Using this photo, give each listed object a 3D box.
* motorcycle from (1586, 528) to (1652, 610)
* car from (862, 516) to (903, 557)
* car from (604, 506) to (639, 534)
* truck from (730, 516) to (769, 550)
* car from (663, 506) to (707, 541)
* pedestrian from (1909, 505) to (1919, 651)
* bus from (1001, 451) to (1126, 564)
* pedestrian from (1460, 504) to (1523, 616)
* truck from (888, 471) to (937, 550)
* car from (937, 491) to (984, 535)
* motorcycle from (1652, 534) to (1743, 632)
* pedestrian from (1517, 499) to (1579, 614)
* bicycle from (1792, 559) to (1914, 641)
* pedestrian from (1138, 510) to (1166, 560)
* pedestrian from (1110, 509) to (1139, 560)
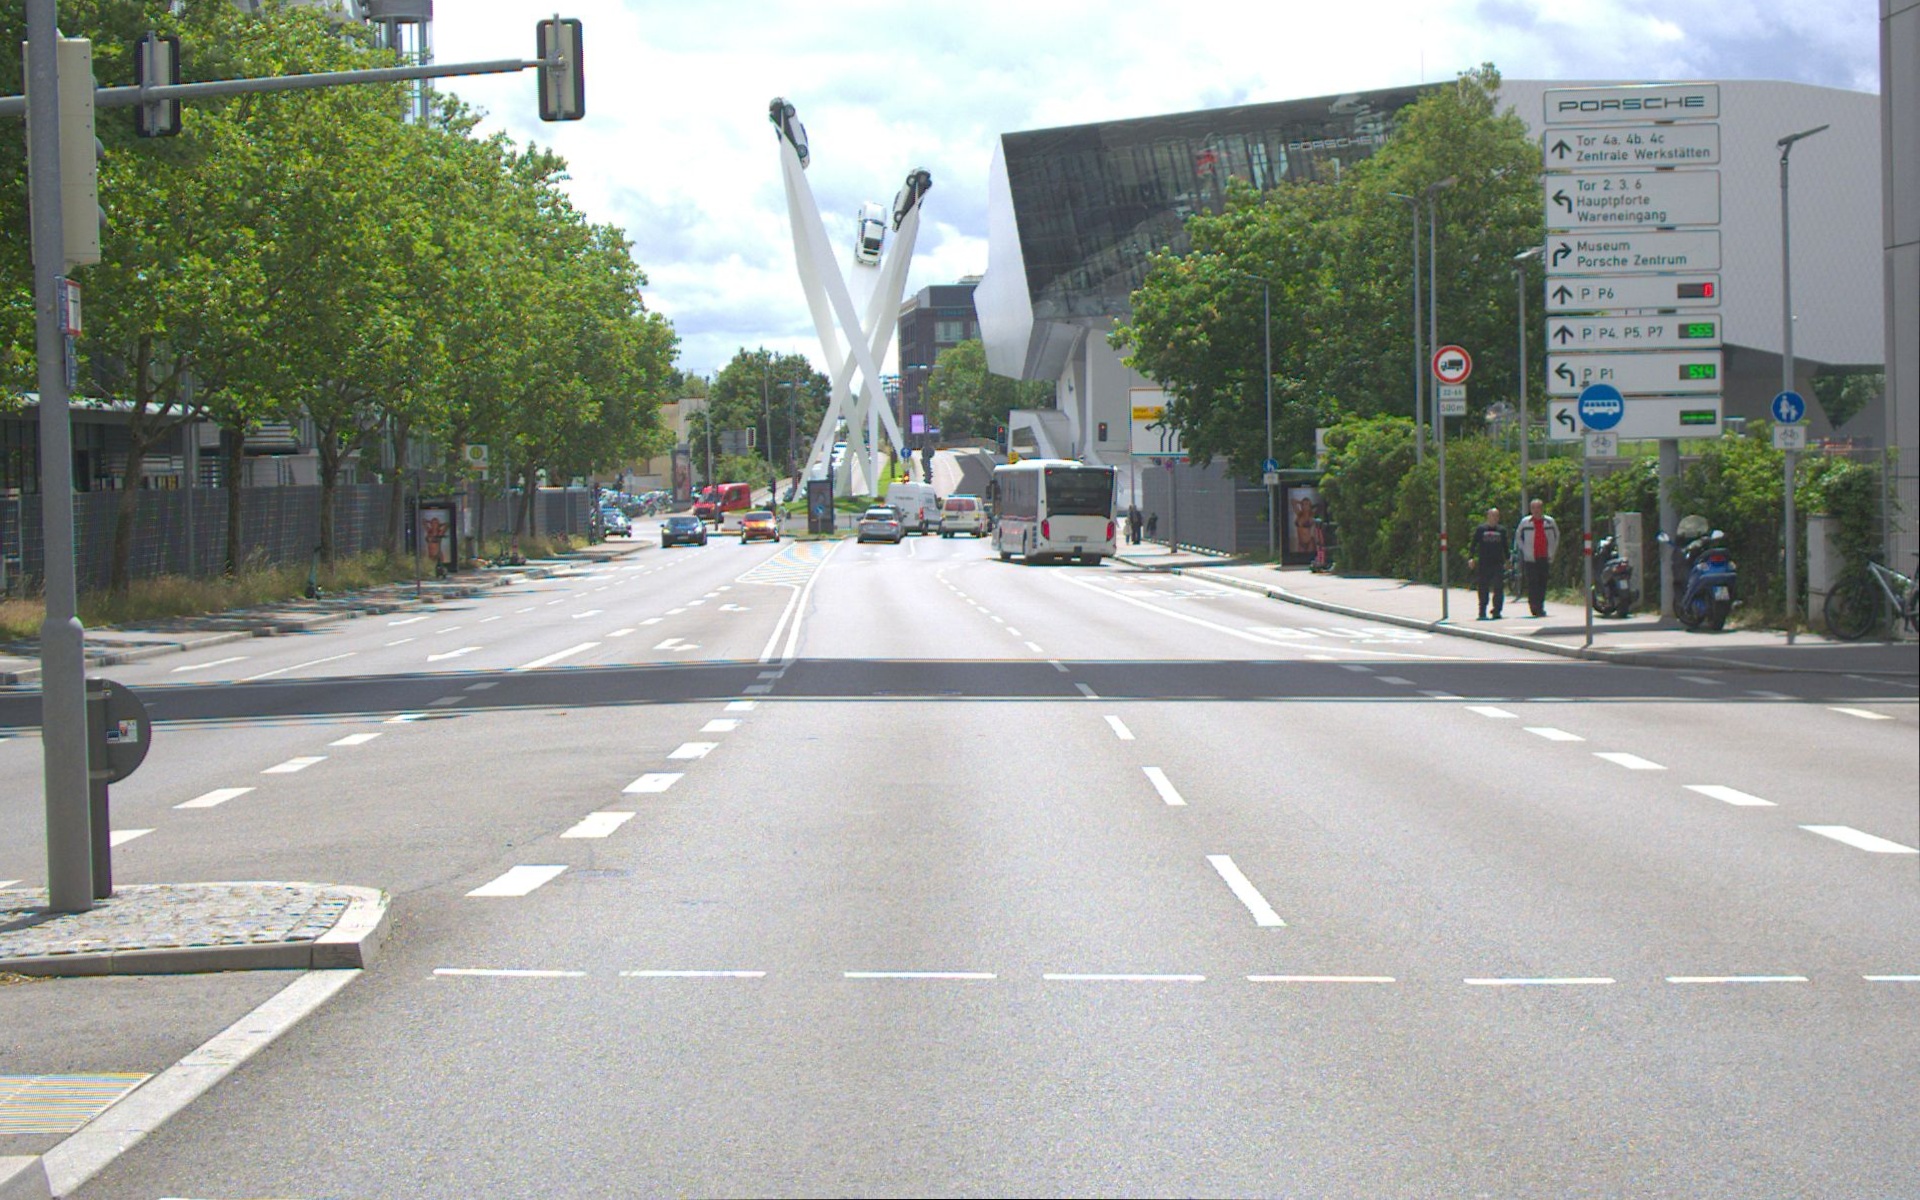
[{"bbox_3d":[10.098,-0.489,52.740,0.574,1.199,2.024,-2,2,-1],"label":"motorcycle"},{"bbox_3d":[-3.332,-2.748,148.630,1.738,1.735,3.691,0,1,-1],"label":"car"},{"bbox_3d":[-19.741,-4.668,200.651,1.818,1.532,3.679,-2,1,-2],"label":"car"},{"bbox_3d":[-9.586,-3.064,156.360,1.583,1.532,3.679,0,1,-6],"label":"truck"},{"bbox_3d":[-12.615,-3.515,157.760,1.818,1.532,3.679,-2,1,-2],"label":"car"},{"bbox_3d":[11.210,-0.246,38.404,0.849,1.619,0.954,1,1,41],"label":"pedestrian"},{"bbox_3d":[3.314,-3.005,113.224,3.452,3.531,10.607,0,1,-2],"label":"bus"},{"bbox_3d":[8.120,-0.615,52.528,0.820,1.701,0.881,0,1,-1],"label":"pedestrian"},{"bbox_3d":[-2.372,-4.440,172.091,2.392,3.884,6.177,0,1,-1],"label":"truck"},{"bbox_3d":[0.027,-4.165,165.563,1.994,2.007,3.999,1,0,3],"label":"car"},{"bbox_3d":[9.615,-0.233,44.883,0.706,1.199,2.024,-2,2,-1],"label":"motorcycle"},{"bbox_3d":[8.955,-0.667,52.391,0.820,1.735,0.637,0,1,-1],"label":"pedestrian"},{"bbox_3d":[10.621,-0.014,40.963,0.397,0.933,1.929,0,1,-19],"label":"bicycle"},{"bbox_3d":[7.774,-2.622,139.197,1.028,2.007,0.885,1,0,-4],"label":"pedestrian"},{"bbox_3d":[6.644,-2.637,138.874,1.028,2.007,0.885,1,0,-4],"label":"pedestrian"}]
